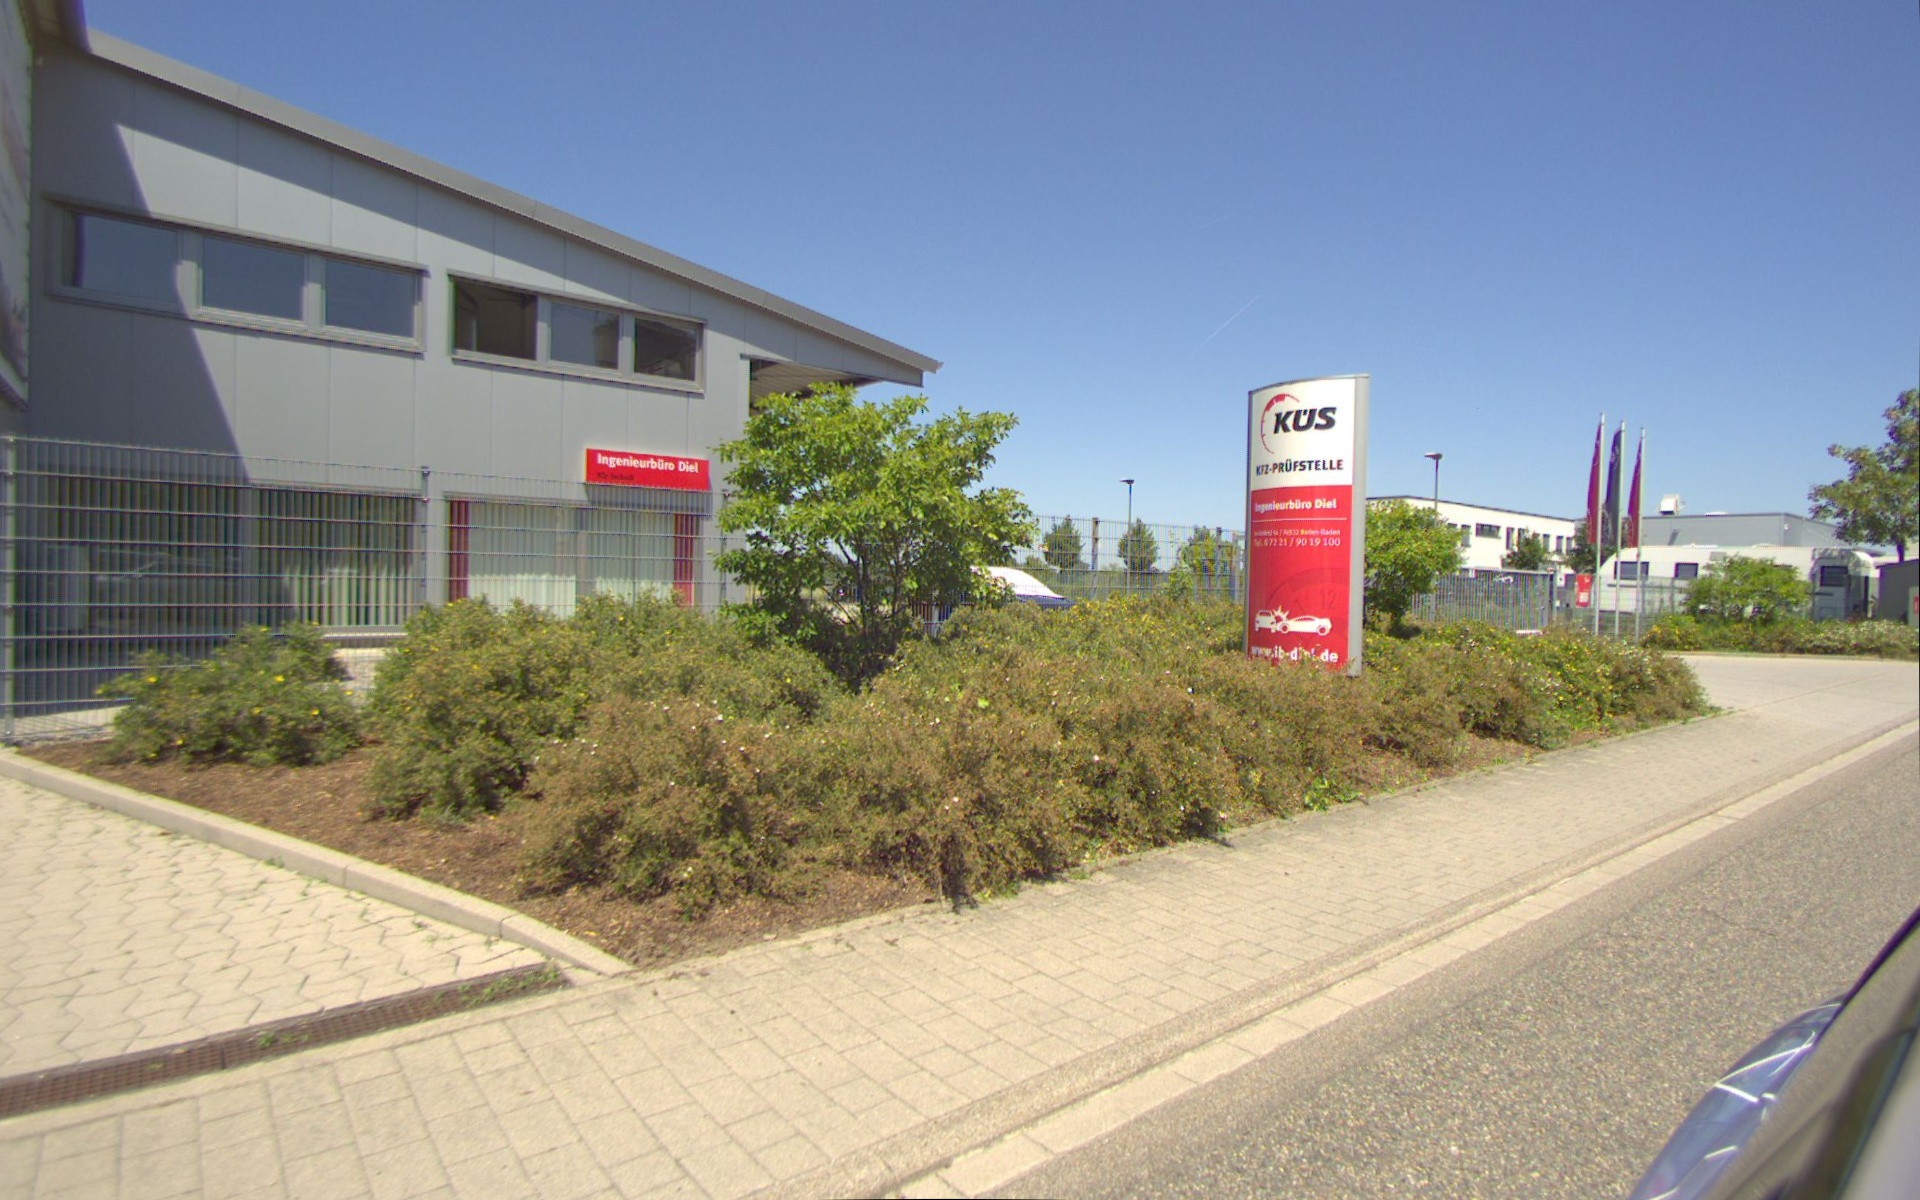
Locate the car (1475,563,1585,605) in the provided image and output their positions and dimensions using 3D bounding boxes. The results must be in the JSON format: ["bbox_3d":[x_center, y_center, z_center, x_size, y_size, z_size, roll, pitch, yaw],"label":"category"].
[{"bbox_3d":[26.679,-0.788,47.467,1.884,1.785,4.052,0,3,-39],"label":"car"}]

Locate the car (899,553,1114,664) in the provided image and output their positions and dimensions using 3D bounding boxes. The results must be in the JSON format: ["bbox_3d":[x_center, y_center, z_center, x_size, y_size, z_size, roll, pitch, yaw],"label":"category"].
[{"bbox_3d":[0.697,0.058,17.335,1.673,1.698,3.619,0,2,-40],"label":"car"}]

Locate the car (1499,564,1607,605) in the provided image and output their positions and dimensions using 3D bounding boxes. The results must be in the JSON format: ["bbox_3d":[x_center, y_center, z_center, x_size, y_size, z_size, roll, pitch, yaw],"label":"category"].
[{"bbox_3d":[28.538,-0.760,48.786,1.884,1.785,4.052,0,3,-39],"label":"car"}]

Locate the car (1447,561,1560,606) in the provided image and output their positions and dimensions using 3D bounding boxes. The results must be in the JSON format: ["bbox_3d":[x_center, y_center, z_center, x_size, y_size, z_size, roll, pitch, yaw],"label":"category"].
[{"bbox_3d":[24.619,-0.772,45.951,1.884,1.829,4.052,0,3,-39],"label":"car"}]

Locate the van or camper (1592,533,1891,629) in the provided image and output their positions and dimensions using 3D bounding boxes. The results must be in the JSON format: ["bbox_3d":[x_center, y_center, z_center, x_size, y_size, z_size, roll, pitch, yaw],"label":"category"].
[{"bbox_3d":[23.659,-0.659,30.983,2.588,2.617,6.774,0,2,-39],"label":"van or camper"}]

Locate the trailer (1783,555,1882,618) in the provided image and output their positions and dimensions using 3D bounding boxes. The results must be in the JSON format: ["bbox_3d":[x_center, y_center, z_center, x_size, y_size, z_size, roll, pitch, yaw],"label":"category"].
[{"bbox_3d":[35.609,-0.583,41.350,1.395,2.432,2.827,0,3,-43],"label":"trailer"}]

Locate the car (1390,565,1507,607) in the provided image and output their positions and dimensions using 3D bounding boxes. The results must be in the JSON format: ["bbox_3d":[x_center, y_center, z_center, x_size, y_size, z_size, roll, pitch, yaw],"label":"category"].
[{"bbox_3d":[20.480,-0.606,42.540,1.716,1.568,4.052,0,3,-39],"label":"car"}]

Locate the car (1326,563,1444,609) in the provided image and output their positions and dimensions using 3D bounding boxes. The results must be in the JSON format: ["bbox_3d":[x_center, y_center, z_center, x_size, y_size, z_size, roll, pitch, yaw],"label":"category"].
[{"bbox_3d":[16.347,-0.552,39.069,1.719,1.595,3.831,0,3,-39],"label":"car"}]

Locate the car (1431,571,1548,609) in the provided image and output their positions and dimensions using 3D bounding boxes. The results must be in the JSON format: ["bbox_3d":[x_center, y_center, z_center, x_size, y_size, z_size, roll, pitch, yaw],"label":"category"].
[{"bbox_3d":[22.691,-0.455,43.478,1.716,1.449,4.052,0,3,-39],"label":"car"}]

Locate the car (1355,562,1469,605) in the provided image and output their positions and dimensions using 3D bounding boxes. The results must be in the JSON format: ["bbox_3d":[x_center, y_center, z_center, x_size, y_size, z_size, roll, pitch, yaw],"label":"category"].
[{"bbox_3d":[18.179,-0.682,40.845,1.648,1.561,3.831,0,3,-39],"label":"car"}]
